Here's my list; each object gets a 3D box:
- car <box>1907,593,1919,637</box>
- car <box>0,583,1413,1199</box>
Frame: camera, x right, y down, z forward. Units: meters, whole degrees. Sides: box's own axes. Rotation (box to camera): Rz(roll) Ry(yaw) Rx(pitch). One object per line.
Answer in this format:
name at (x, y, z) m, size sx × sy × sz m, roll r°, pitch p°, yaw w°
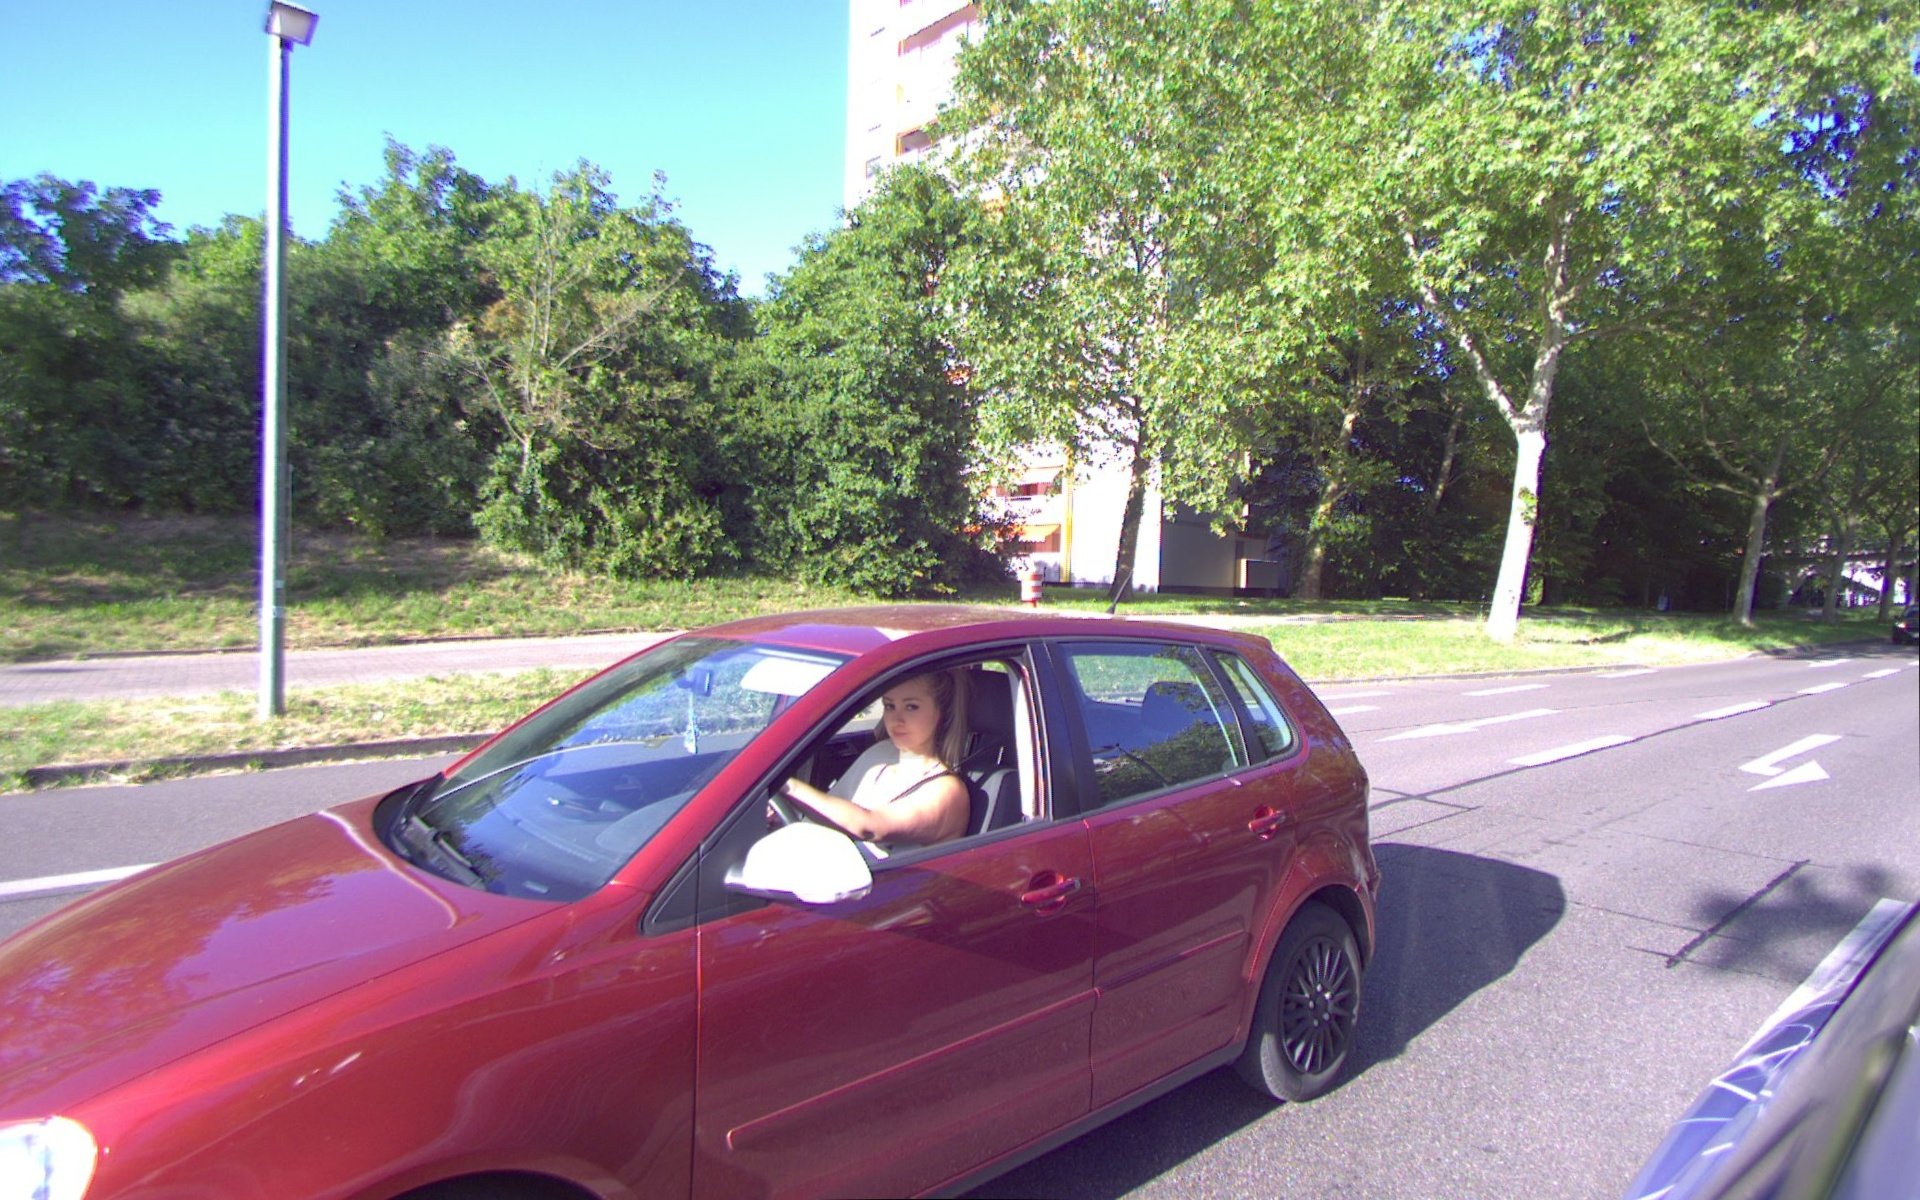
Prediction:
car at (34.567, 0.522, 35.356) m, size 3.824 × 1.487 × 1.749 m, roll 0°, pitch 1°, yaw -41°
car at (-0.467, 0.693, 2.756) m, size 3.627 × 1.434 × 1.626 m, roll 0°, pitch 1°, yaw -39°
